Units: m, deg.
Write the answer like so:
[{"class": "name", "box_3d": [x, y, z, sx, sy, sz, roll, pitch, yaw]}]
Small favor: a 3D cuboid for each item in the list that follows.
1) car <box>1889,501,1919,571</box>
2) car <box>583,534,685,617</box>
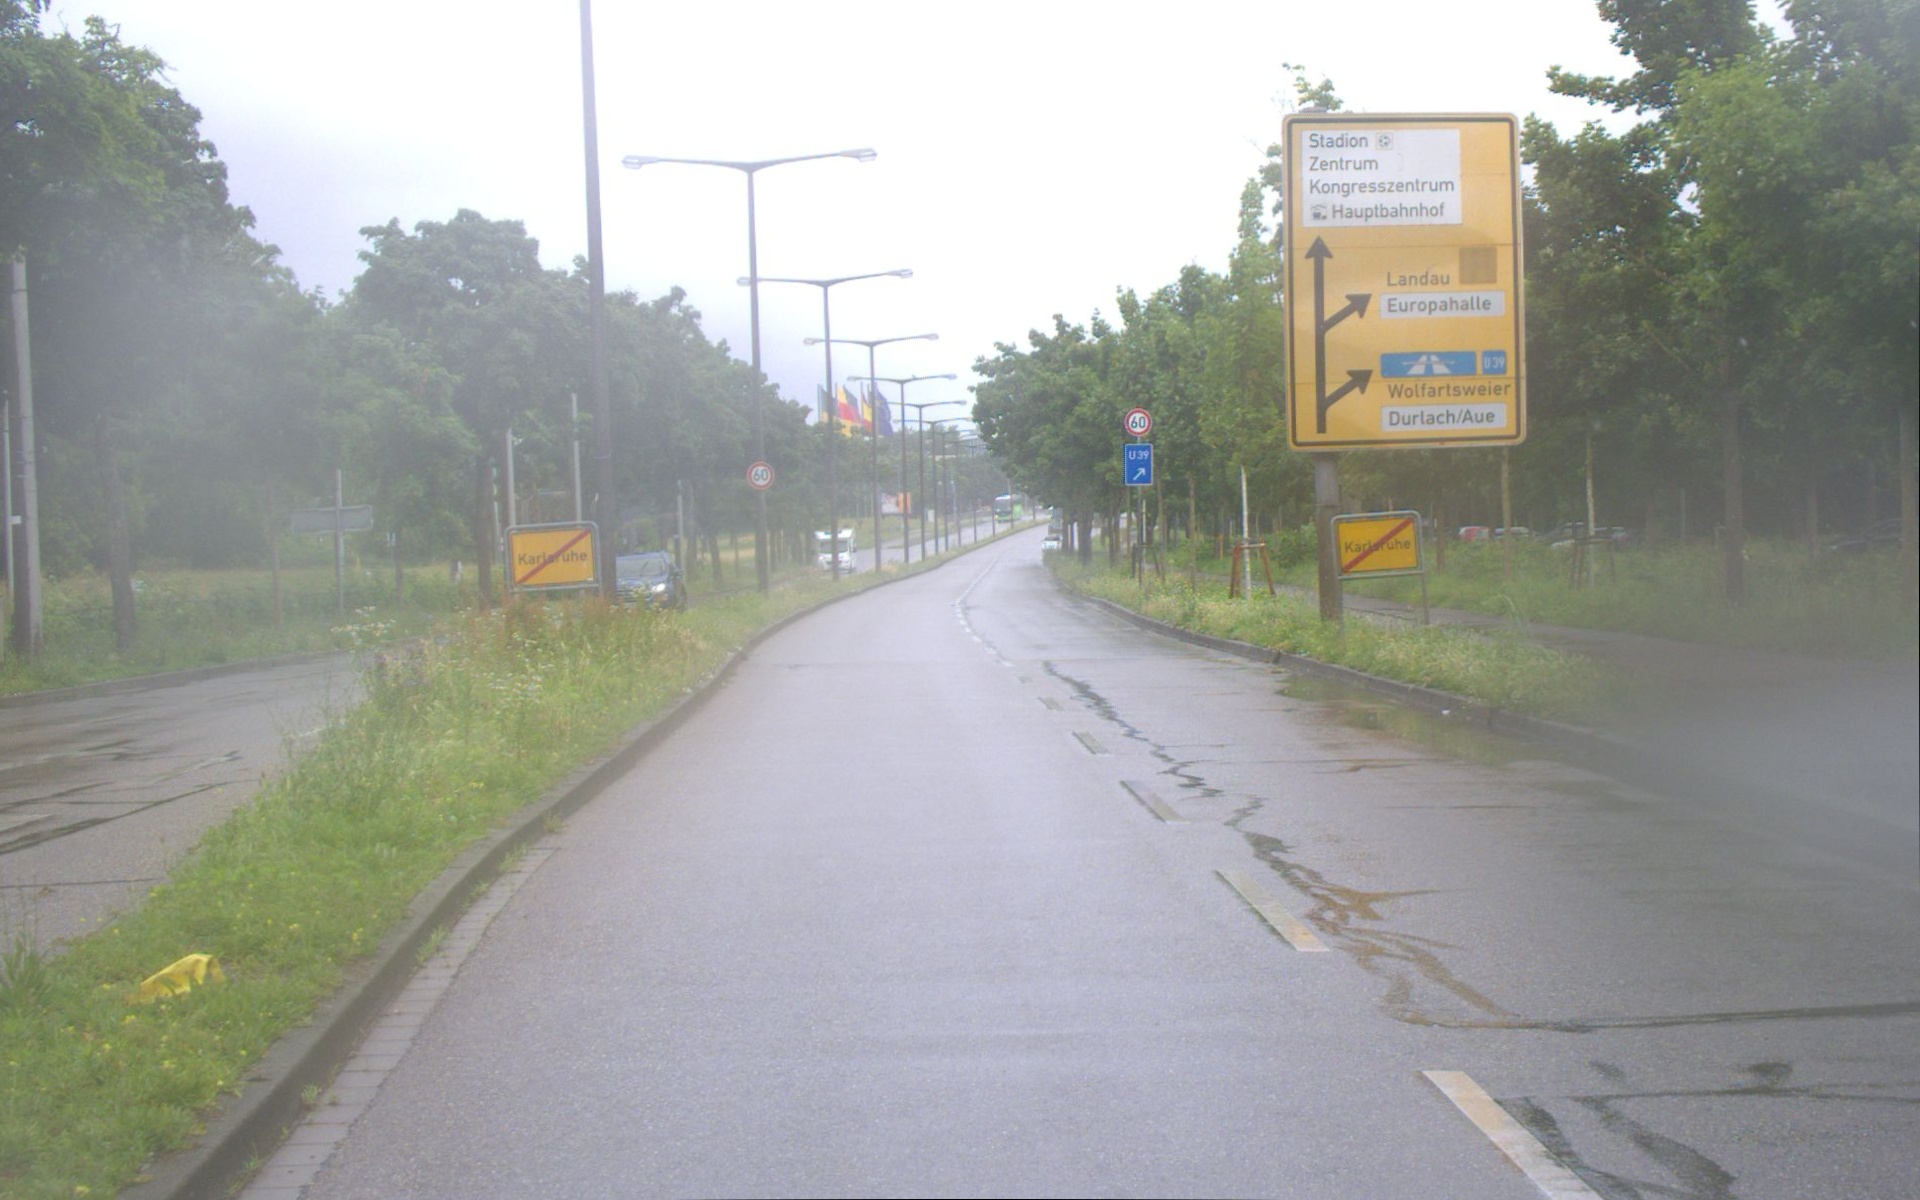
[{"class": "car", "box_3d": [21.775, -1.421, 75.621, 1.745, 1.440, 4.122, -2, 3, 3]}, {"class": "car", "box_3d": [-7.135, -0.559, 75.467, 1.743, 1.644, 4.136, -4, 1, 0]}]
